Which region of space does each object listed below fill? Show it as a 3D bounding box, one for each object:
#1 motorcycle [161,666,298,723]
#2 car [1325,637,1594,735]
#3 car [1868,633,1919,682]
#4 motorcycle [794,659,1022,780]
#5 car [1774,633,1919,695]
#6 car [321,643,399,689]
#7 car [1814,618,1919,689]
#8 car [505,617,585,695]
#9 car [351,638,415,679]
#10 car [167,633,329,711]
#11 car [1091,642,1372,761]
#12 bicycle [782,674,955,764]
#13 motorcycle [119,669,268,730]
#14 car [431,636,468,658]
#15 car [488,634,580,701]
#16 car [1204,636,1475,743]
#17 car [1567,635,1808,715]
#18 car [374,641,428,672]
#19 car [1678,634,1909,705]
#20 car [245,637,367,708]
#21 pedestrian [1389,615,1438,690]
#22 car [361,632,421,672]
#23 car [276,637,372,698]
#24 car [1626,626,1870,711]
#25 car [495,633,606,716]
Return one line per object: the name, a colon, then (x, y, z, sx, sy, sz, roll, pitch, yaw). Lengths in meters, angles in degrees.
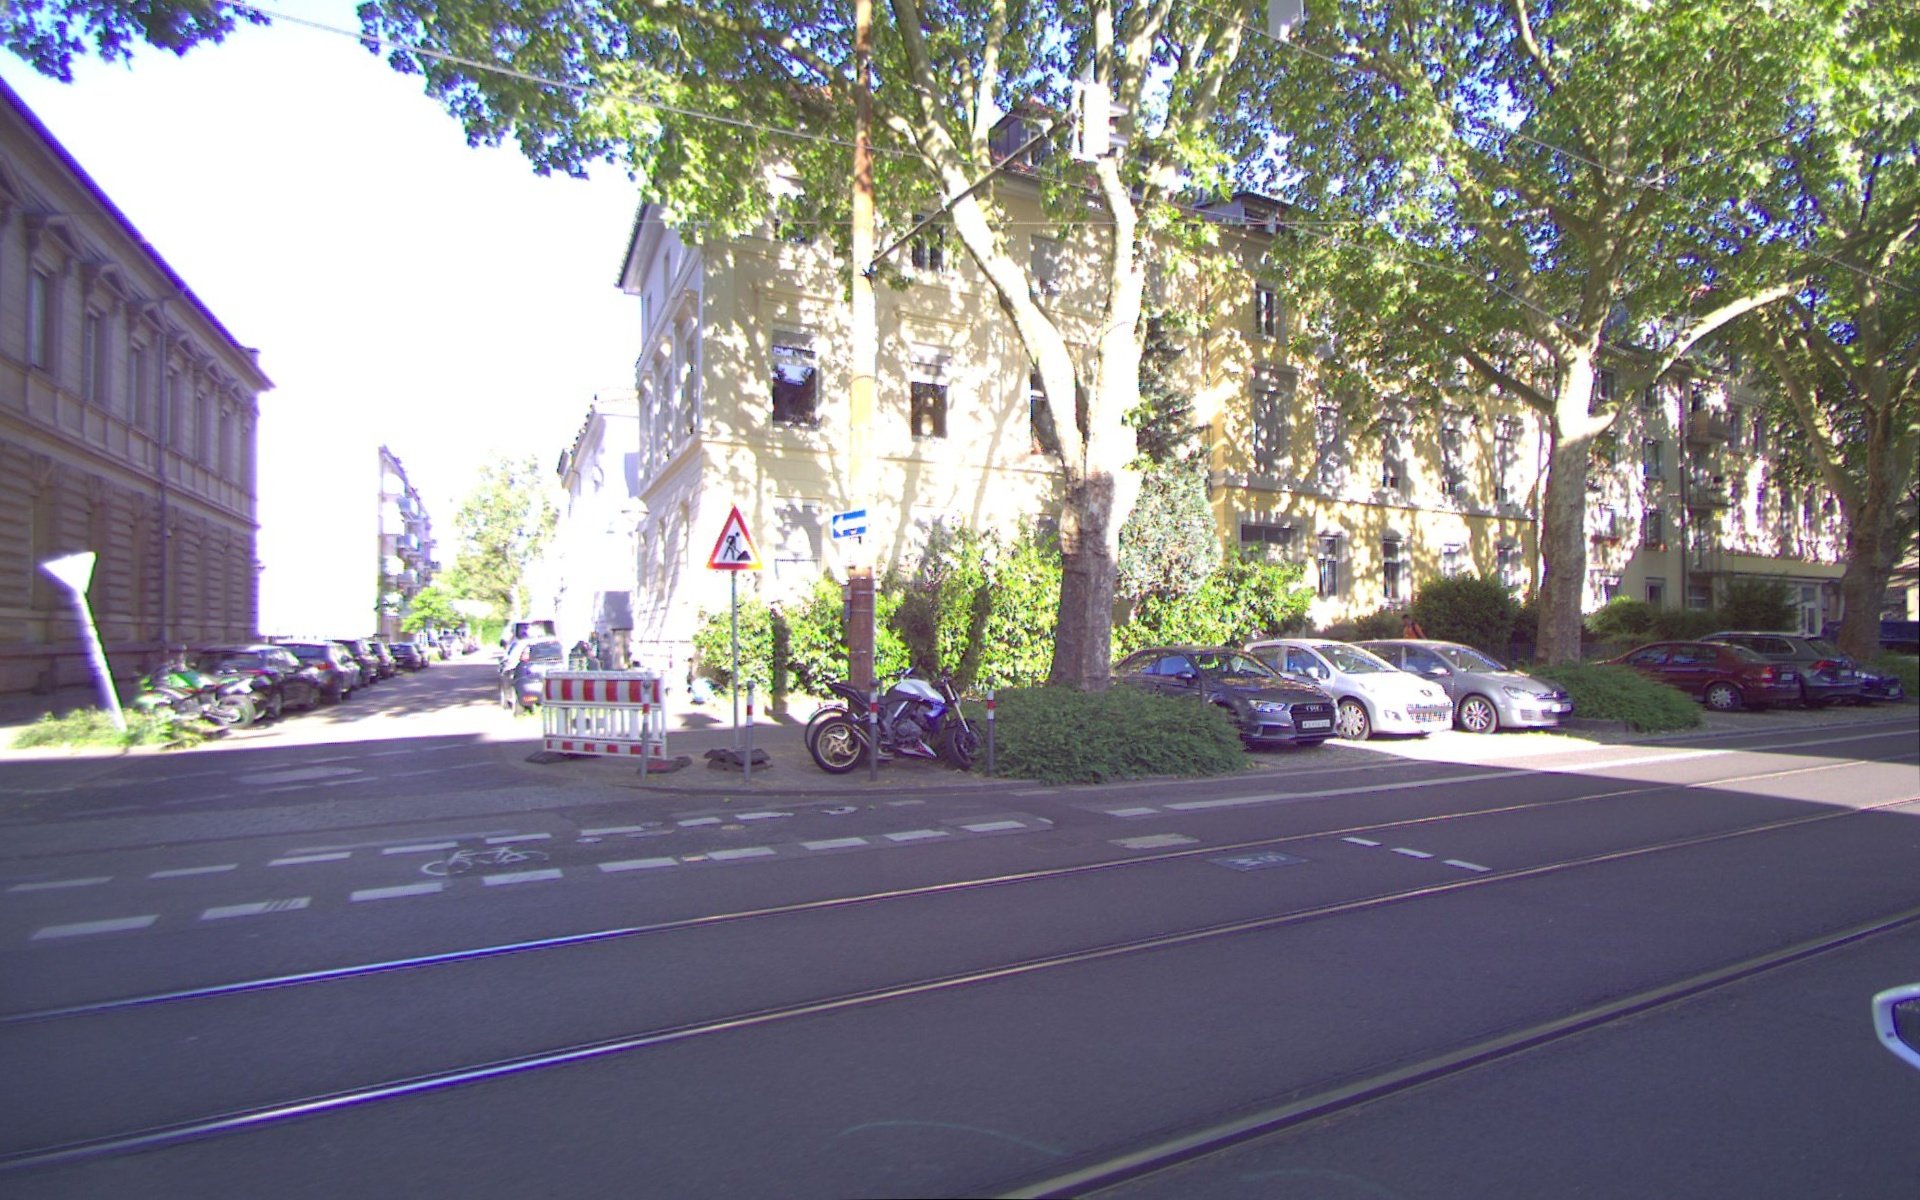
motorcycle: (-13.648, 1.761, 18.832, 1.924, 0.990, 0.719, 1, 0, -18)
car: (8.537, 1.393, 17.508, 1.783, 1.481, 3.904, 1, -2, -29)
car: (30.073, 1.780, 30.274, 1.618, 1.449, 3.718, 1, -1, -29)
motorcycle: (-0.568, 1.260, 11.041, 2.355, 1.162, 0.883, 0, -1, -22)
car: (25.117, 1.720, 27.744, 1.725, 1.518, 3.718, 1, -1, -29)
car: (-20.467, 2.212, 34.409, 1.677, 1.350, 3.912, 1, -1, -22)
car: (27.818, 1.545, 28.834, 1.955, 1.949, 4.656, 1, 0, -28)
car: (-12.412, 1.620, 29.882, 1.987, 2.029, 4.395, -2, -1, -25)
car: (-23.017, 2.298, 40.174, 1.648, 1.455, 3.912, 1, -1, -22)
car: (-14.805, 1.438, 21.123, 1.820, 1.350, 3.914, 1, -1, -21)
car: (3.833, 1.372, 14.818, 1.825, 1.350, 3.903, 1, -1, -28)
bicycle: (-1.081, 1.397, 12.005, 2.004, 0.953, 0.540, 1, -1, -22)
motorcycle: (-13.438, 1.733, 17.672, 1.924, 0.990, 0.719, 1, 0, -18)
car: (-34.764, 3.197, 68.498, 1.820, 1.350, 3.912, 1, -1, -22)
car: (-10.450, 1.594, 24.502, 1.673, 1.437, 3.904, -1, -2, -28)
car: (5.974, 1.342, 16.272, 1.778, 1.472, 3.904, 1, -2, -29)
car: (15.740, 1.558, 21.941, 1.727, 1.461, 3.903, 1, -1, -29)
car: (-27.839, 2.777, 50.150, 1.820, 1.350, 3.912, 1, 0, -22)
car: (19.820, 1.588, 24.056, 1.798, 1.440, 3.900, 1, -1, -31)
car: (-16.379, 1.762, 25.362, 1.820, 1.510, 3.912, 1, -1, -22)
pedestrian: (11.638, 1.332, 25.809, 0.830, 1.874, 0.859, 1, -1, -37)
car: (-25.845, 2.335, 45.742, 1.820, 1.659, 3.912, 1, -1, -22)
car: (-18.837, 1.955, 29.919, 1.686, 1.570, 3.912, 1, 0, -22)
car: (17.771, 1.475, 22.853, 1.857, 1.648, 3.977, 1, -1, -29)
car: (-8.483, 1.467, 20.640, 1.673, 1.437, 3.761, -2, -1, -29)
